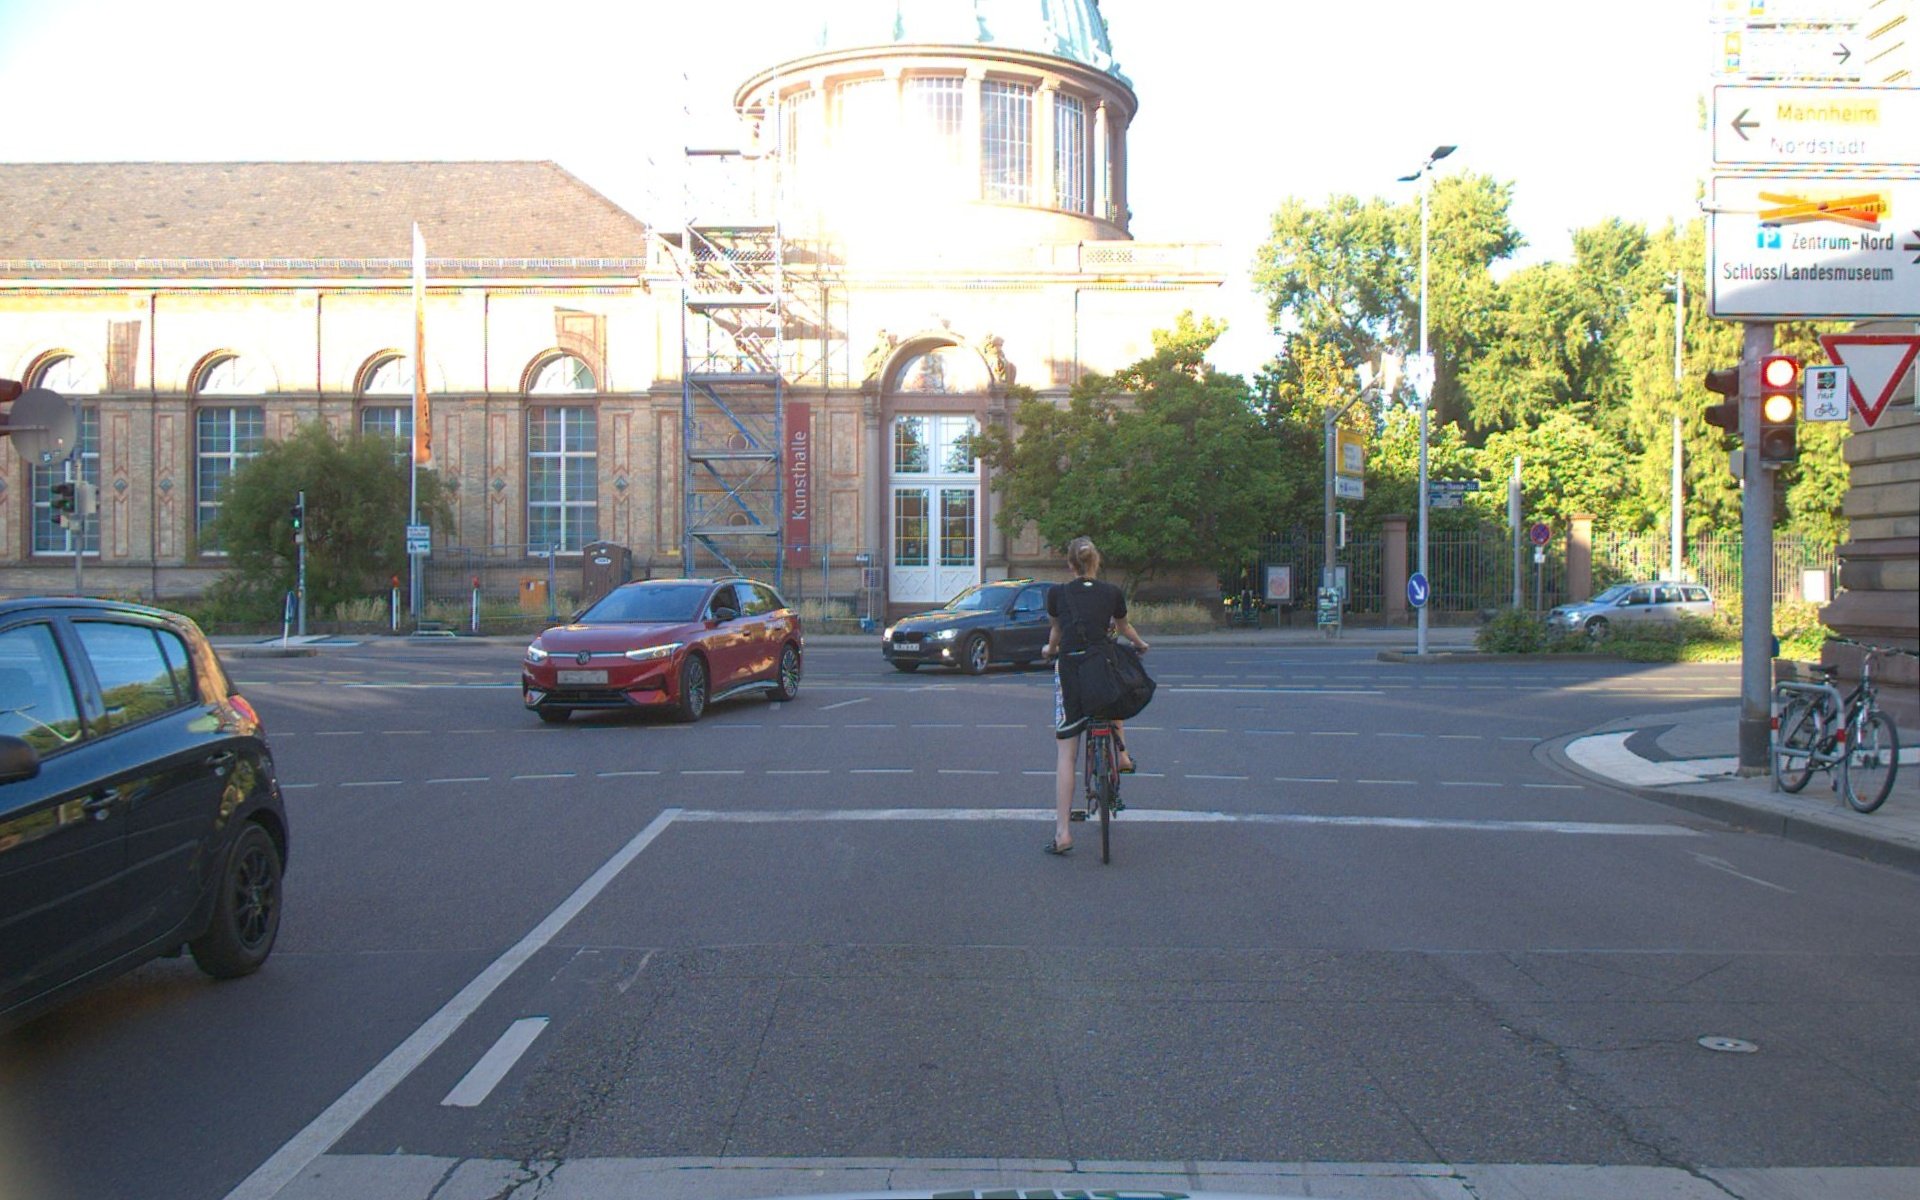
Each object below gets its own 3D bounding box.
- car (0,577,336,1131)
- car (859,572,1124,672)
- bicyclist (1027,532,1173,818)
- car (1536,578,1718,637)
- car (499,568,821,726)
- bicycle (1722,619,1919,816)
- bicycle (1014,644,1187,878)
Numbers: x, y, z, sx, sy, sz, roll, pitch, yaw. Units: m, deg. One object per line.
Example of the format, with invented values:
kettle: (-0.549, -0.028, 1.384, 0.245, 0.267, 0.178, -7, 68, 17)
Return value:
car: (-3.476, 0.716, 5.097, 1.624, 1.497, 3.854, -1, 1, 0)
car: (0.586, 0.322, 27.200, 4.388, 1.484, 1.760, -1, 0, -43)
bicyclist: (0.806, 0.409, 9.352, 0.701, 1.529, 0.851, 0, -1, 13)
car: (17.303, 0.185, 42.996, 4.104, 1.470, 1.713, 0, 1, -6)
car: (-3.310, 0.449, 19.377, 1.792, 1.572, 4.852, -1, 1, 15)
bicycle: (5.881, 0.736, 11.149, 0.570, 1.209, 1.920, 0, -1, -1)
bicycle: (0.860, 0.852, 9.574, 0.696, 1.176, 2.070, 0, -1, 13)
